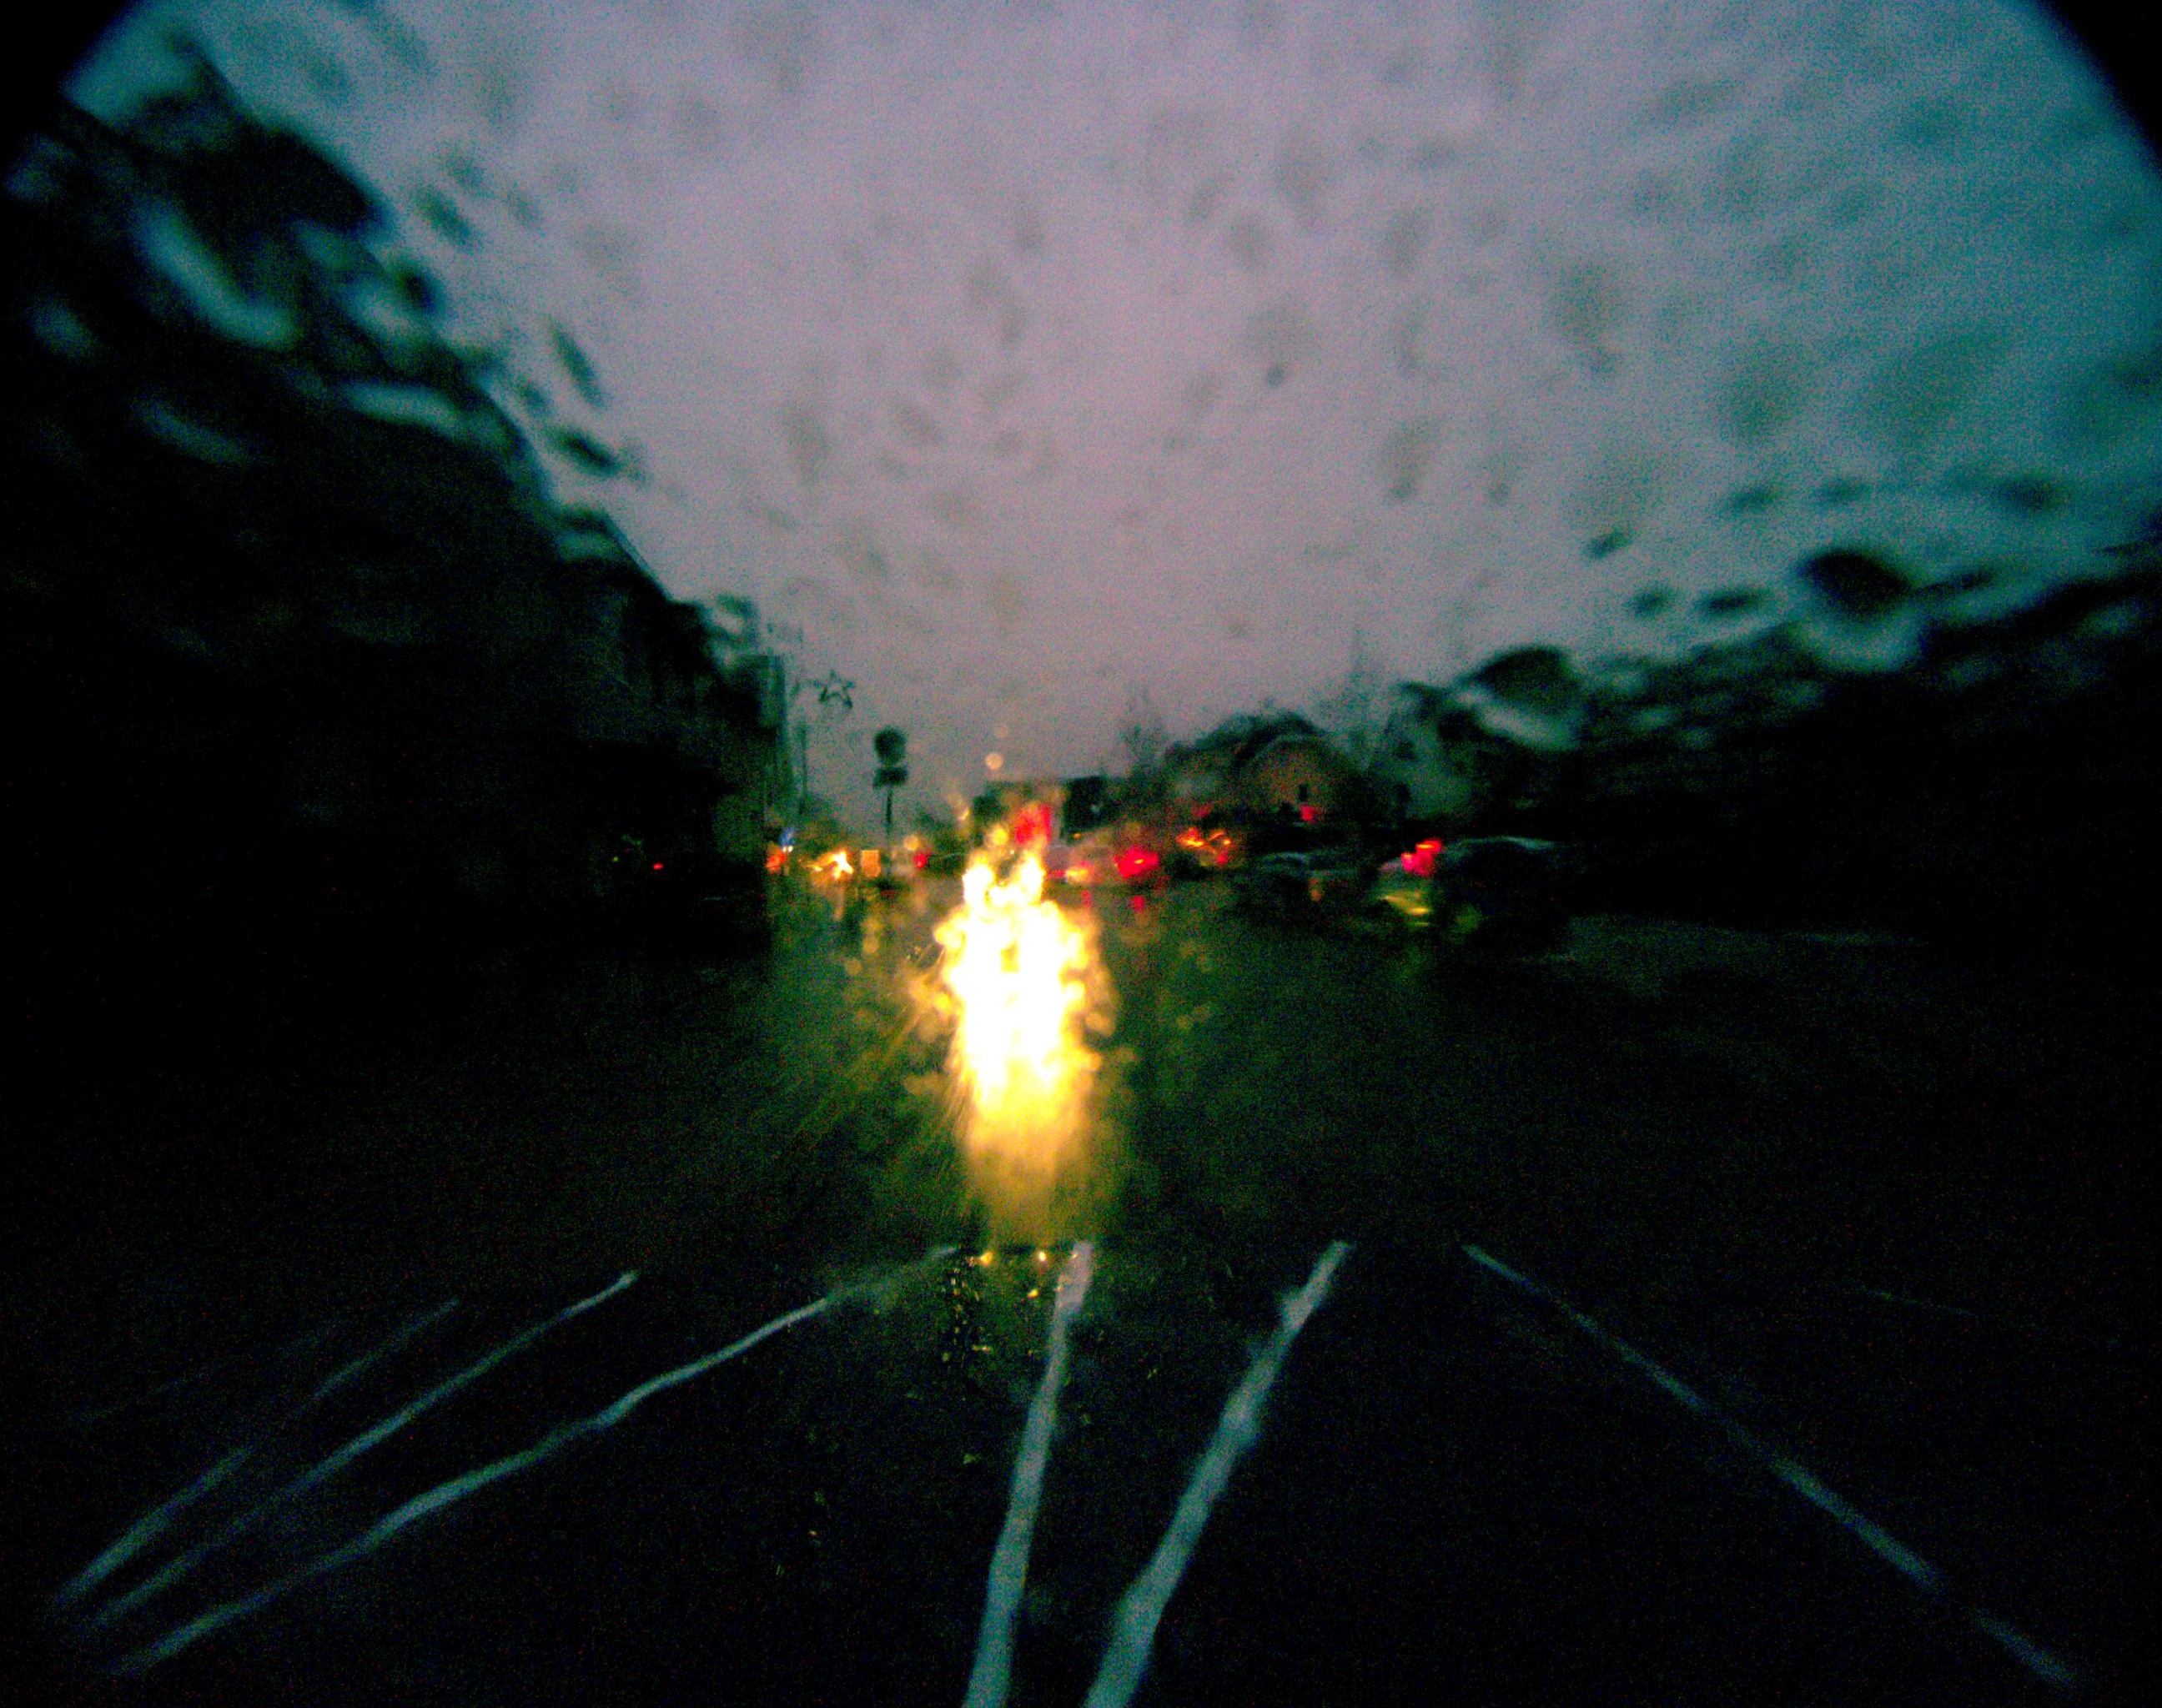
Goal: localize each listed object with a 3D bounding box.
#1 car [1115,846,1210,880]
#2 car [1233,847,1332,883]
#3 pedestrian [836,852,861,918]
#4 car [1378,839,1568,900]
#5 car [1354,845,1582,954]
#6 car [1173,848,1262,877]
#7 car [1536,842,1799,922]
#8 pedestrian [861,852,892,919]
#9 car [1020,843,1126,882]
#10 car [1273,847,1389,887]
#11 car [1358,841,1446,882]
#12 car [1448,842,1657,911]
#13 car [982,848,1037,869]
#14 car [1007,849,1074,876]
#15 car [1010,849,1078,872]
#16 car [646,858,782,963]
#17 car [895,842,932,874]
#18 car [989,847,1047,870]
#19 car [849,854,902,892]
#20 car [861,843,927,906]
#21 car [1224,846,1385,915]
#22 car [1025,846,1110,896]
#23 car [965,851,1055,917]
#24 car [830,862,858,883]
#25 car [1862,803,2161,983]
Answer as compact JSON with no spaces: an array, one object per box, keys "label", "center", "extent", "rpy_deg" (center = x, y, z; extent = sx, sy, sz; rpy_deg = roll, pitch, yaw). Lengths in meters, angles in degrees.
[{"label":"car","center":[4.293,0.435,40.068],"extent":[4.453,1.623,2.151],"rpy_deg":[-1,1,-20]},{"label":"car","center":[8.481,0.466,32.059],"extent":[3.926,1.450,1.764],"rpy_deg":[0,0,14]},{"label":"pedestrian","center":[-5.952,0.781,19.475],"extent":[0.581,1.659,0.790],"rpy_deg":[-1,1,-16]},{"label":"car","center":[11.208,0.427,22.136],"extent":[4.646,1.644,1.990],"rpy_deg":[0,1,18]},{"label":"car","center":[6.323,0.647,12.929],"extent":[1.838,1.527,3.674],"rpy_deg":[-2,1,-3]},{"label":"car","center":[8.072,0.508,45.124],"extent":[4.771,1.626,1.998],"rpy_deg":[1,-1,-12]},{"label":"car","center":[12.089,0.566,16.037],"extent":[3.991,1.521,2.003],"rpy_deg":[-1,0,22]},{"label":"pedestrian","center":[-5.322,0.806,19.734],"extent":[0.716,1.689,0.803],"rpy_deg":[-1,1,-19]},{"label":"car","center":[-0.503,0.465,43.280],"extent":[5.778,1.934,1.989],"rpy_deg":[-2,0,-7]},{"label":"car","center":[9.445,0.481,28.975],"extent":[4.066,1.451,1.759],"rpy_deg":[-1,1,13]},{"label":"car","center":[14.497,0.302,34.571],"extent":[1.721,1.718,3.995],"rpy_deg":[-2,1,-11]},{"label":"car","center":[11.501,0.500,18.874],"extent":[4.104,1.573,1.723],"rpy_deg":[0,1,18]},{"label":"car","center":[-6.248,0.380,66.283],"extent":[4.432,1.790,1.841],"rpy_deg":[-1,0,-21]},{"label":"car","center":[-2.712,0.548,50.509],"extent":[4.004,1.674,1.996],"rpy_deg":[-1,0,-21]},{"label":"car","center":[-2.841,0.490,58.855],"extent":[4.885,1.674,1.997],"rpy_deg":[-1,-1,-19]},{"label":"car","center":[-6.264,0.848,13.338],"extent":[1.741,1.552,3.657],"rpy_deg":[0,0,-19]},{"label":"car","center":[-14.144,0.333,63.827],"extent":[2.204,2.476,6.132],"rpy_deg":[-1,0,-20]},{"label":"car","center":[-5.270,0.369,63.686],"extent":[4.522,1.855,1.865],"rpy_deg":[-1,0,-21]},{"label":"car","center":[-9.720,0.832,35.651],"extent":[1.983,1.651,4.452],"rpy_deg":[-1,0,-20]},{"label":"car","center":[-6.441,0.641,26.177],"extent":[1.980,1.948,4.845],"rpy_deg":[-1,0,-14]},{"label":"car","center":[5.550,0.614,19.486],"extent":[1.912,1.524,4.249],"rpy_deg":[-2,0,-17]},{"label":"car","center":[-0.620,0.591,29.121],"extent":[1.954,1.740,4.843],"rpy_deg":[1,0,-17]},{"label":"car","center":[-2.228,0.758,22.316],"extent":[2.272,1.633,5.061],"rpy_deg":[-1,1,-9]},{"label":"car","center":[-21.342,1.654,68.352],"extent":[2.002,1.774,4.511],"rpy_deg":[-1,0,-21]},{"label":"car","center":[12.776,0.411,8.395],"extent":[5.384,1.874,2.077],"rpy_deg":[0,0,25]}]
